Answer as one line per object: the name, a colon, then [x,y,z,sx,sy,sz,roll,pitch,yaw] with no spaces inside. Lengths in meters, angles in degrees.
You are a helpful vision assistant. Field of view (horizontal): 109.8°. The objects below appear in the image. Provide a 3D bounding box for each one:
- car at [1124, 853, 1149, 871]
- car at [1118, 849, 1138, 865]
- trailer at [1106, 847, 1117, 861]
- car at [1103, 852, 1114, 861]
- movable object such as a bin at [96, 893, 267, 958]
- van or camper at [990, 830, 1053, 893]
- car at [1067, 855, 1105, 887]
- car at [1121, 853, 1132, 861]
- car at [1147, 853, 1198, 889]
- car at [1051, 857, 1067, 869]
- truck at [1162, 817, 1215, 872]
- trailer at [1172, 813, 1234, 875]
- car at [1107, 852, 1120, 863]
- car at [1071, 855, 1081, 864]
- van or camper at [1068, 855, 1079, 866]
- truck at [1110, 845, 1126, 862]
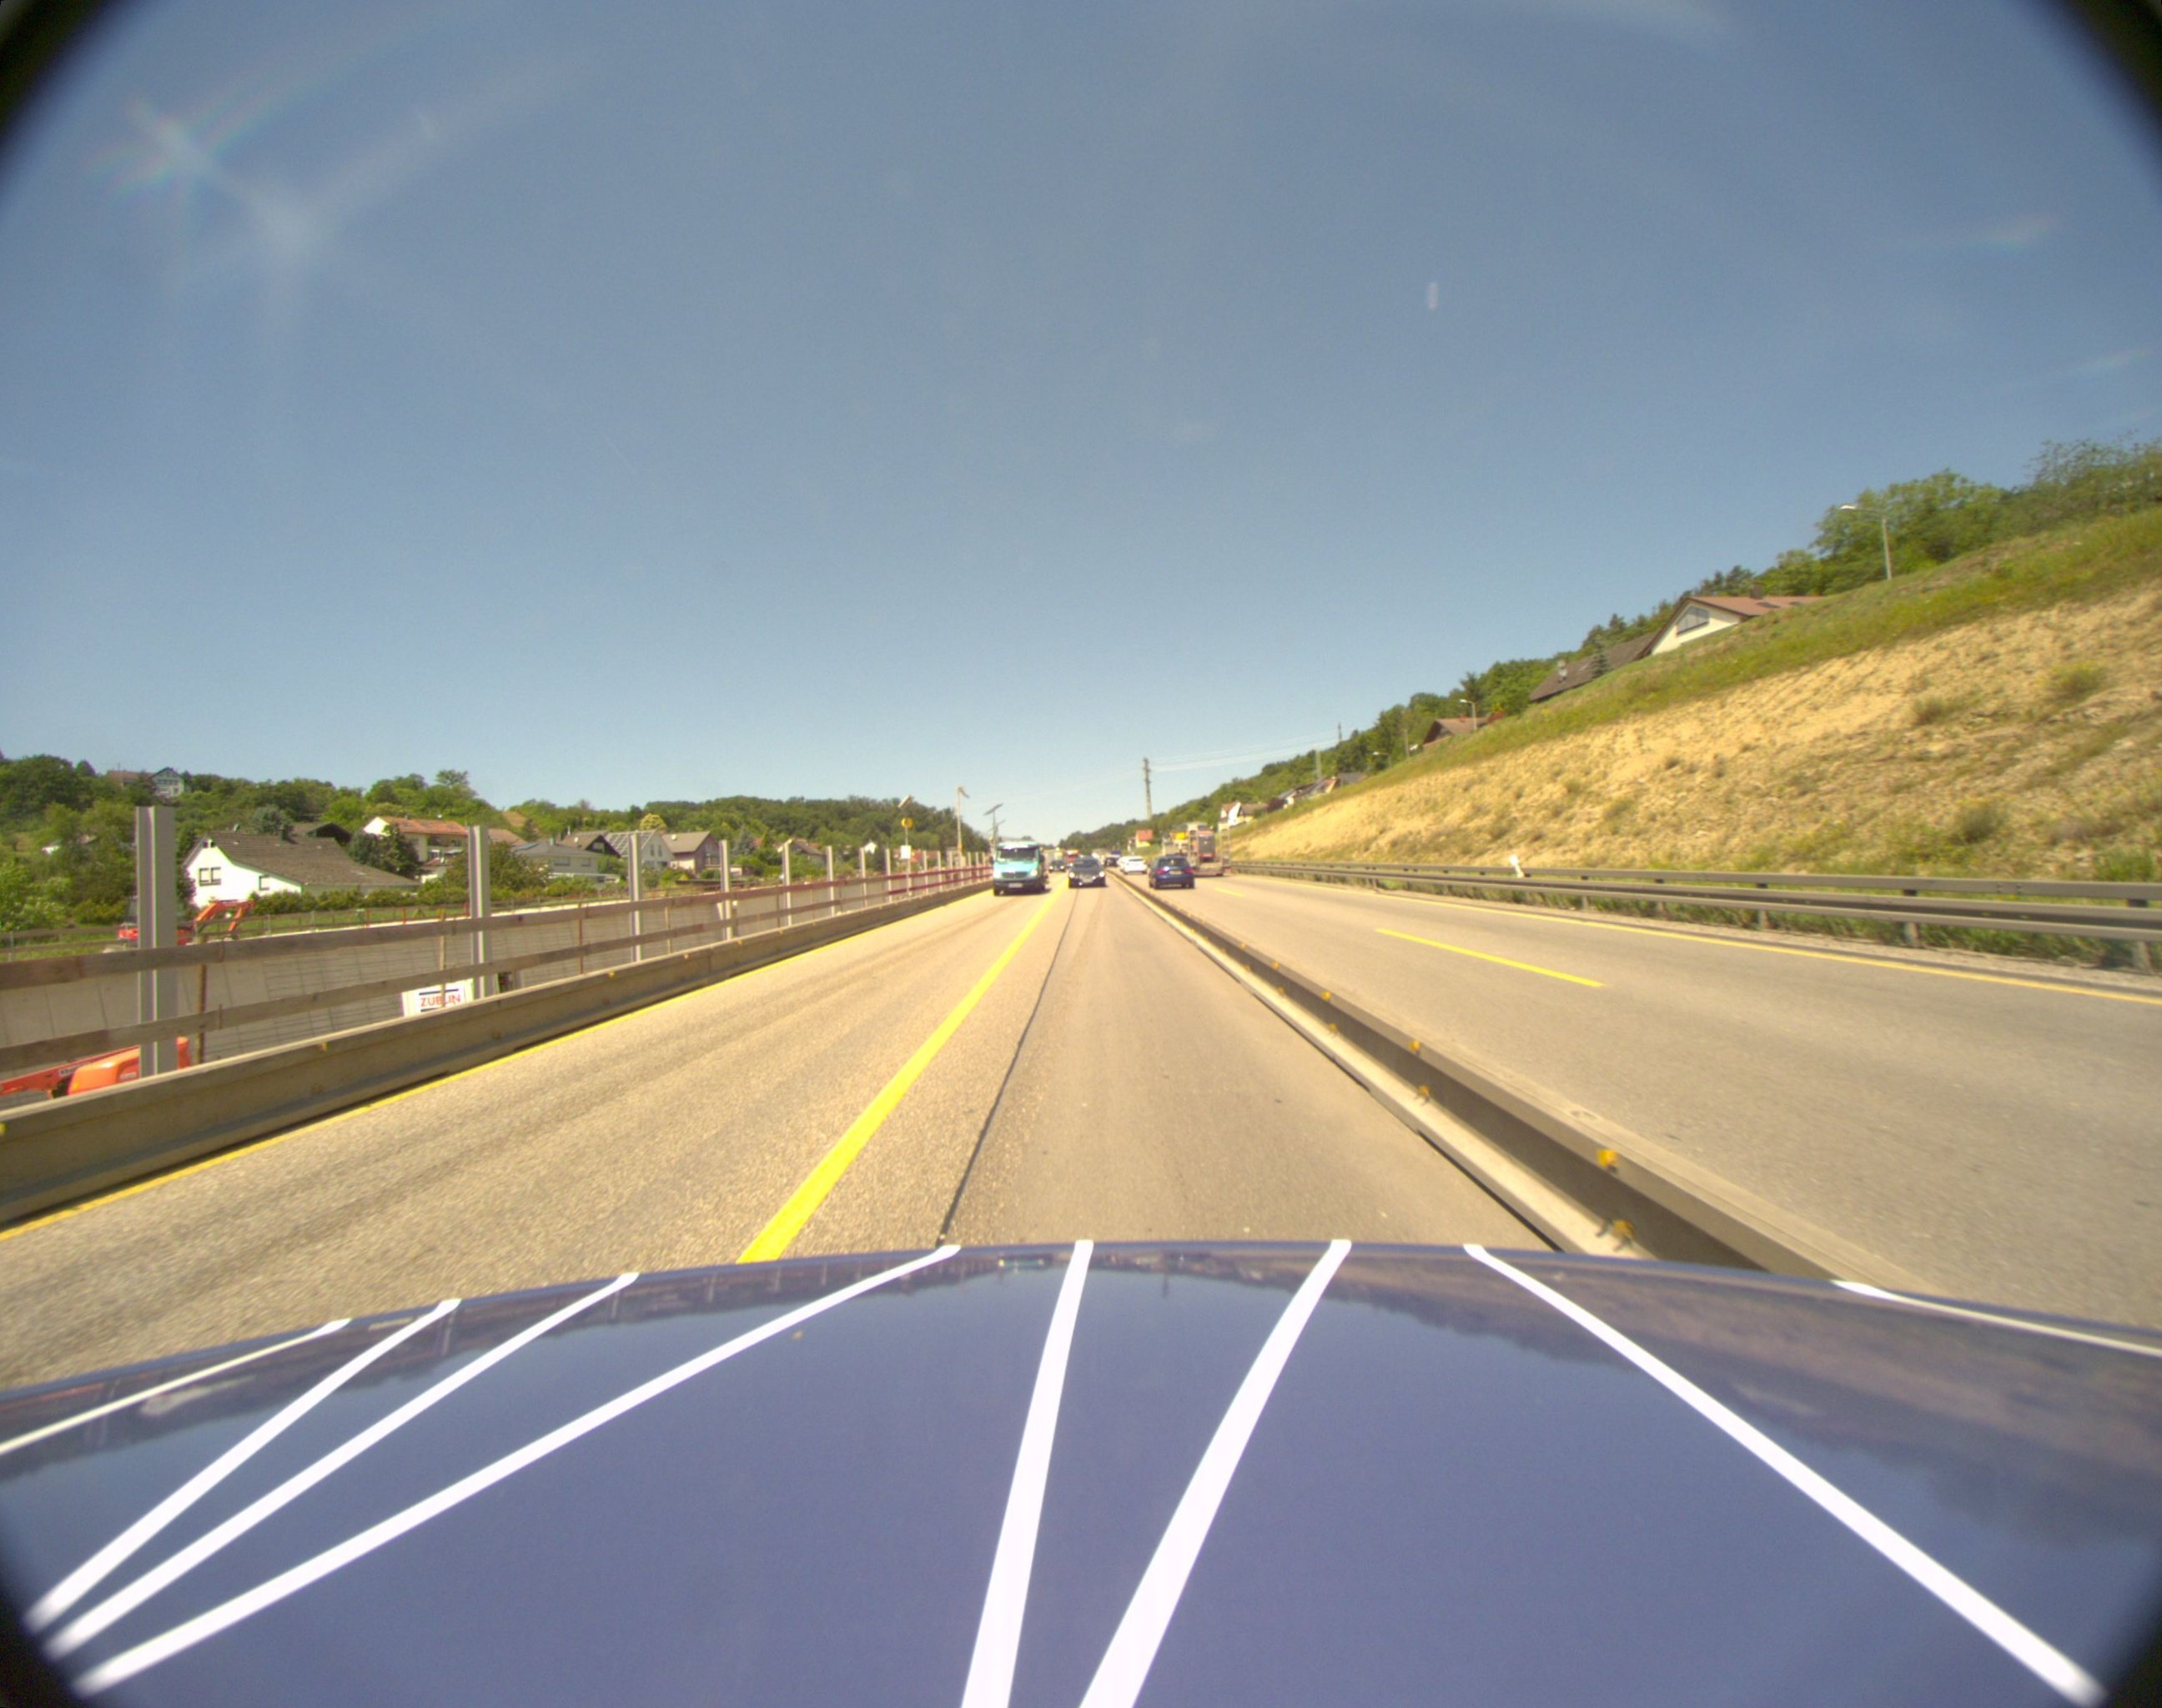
car: [4.487,0.622,61.659,1.689,1.421,4.122,-2,0,0]
car: [4.589,0.284,74.822,1.689,1.421,3.292,-2,0,0]
trailer: [9.833,-0.093,246.090,2.817,4.261,14.035,-3,0,0]
car: [5.233,0.447,143.808,1.820,1.583,4.290,-2,0,0]
movable object such as a bin: [-37.103,2.871,31.528,1.998,2.226,4.152,-2,0,1]
van or camper: [-2.557,0.338,34.667,2.097,2.458,7.672,-2,-1,1]
car: [0.270,0.841,38.171,1.746,1.420,4.000,-3,-1,1]
car: [8.660,0.587,145.223,1.904,1.575,4.514,-2,0,0]
car: [3.911,0.691,33.005,1.689,1.421,3.849,-2,0,0]
car: [-2.375,0.993,83.774,1.611,1.324,3.496,-2,0,1]
truck: [7.868,-0.645,56.625,2.593,3.701,9.332,-2,0,1]
trailer: [7.782,-0.611,49.520,2.593,3.616,9.078,-2,0,1]
car: [4.902,0.515,114.876,1.895,1.698,4.561,-2,0,1]
car: [-1.041,1.083,156.124,1.895,1.698,4.561,-2,0,1]
van or camper: [-1.718,1.503,180.813,2.321,2.513,4.528,-4,0,1]
truck: [9.624,-0.180,198.820,3.251,4.135,13.978,-2,0,0]
